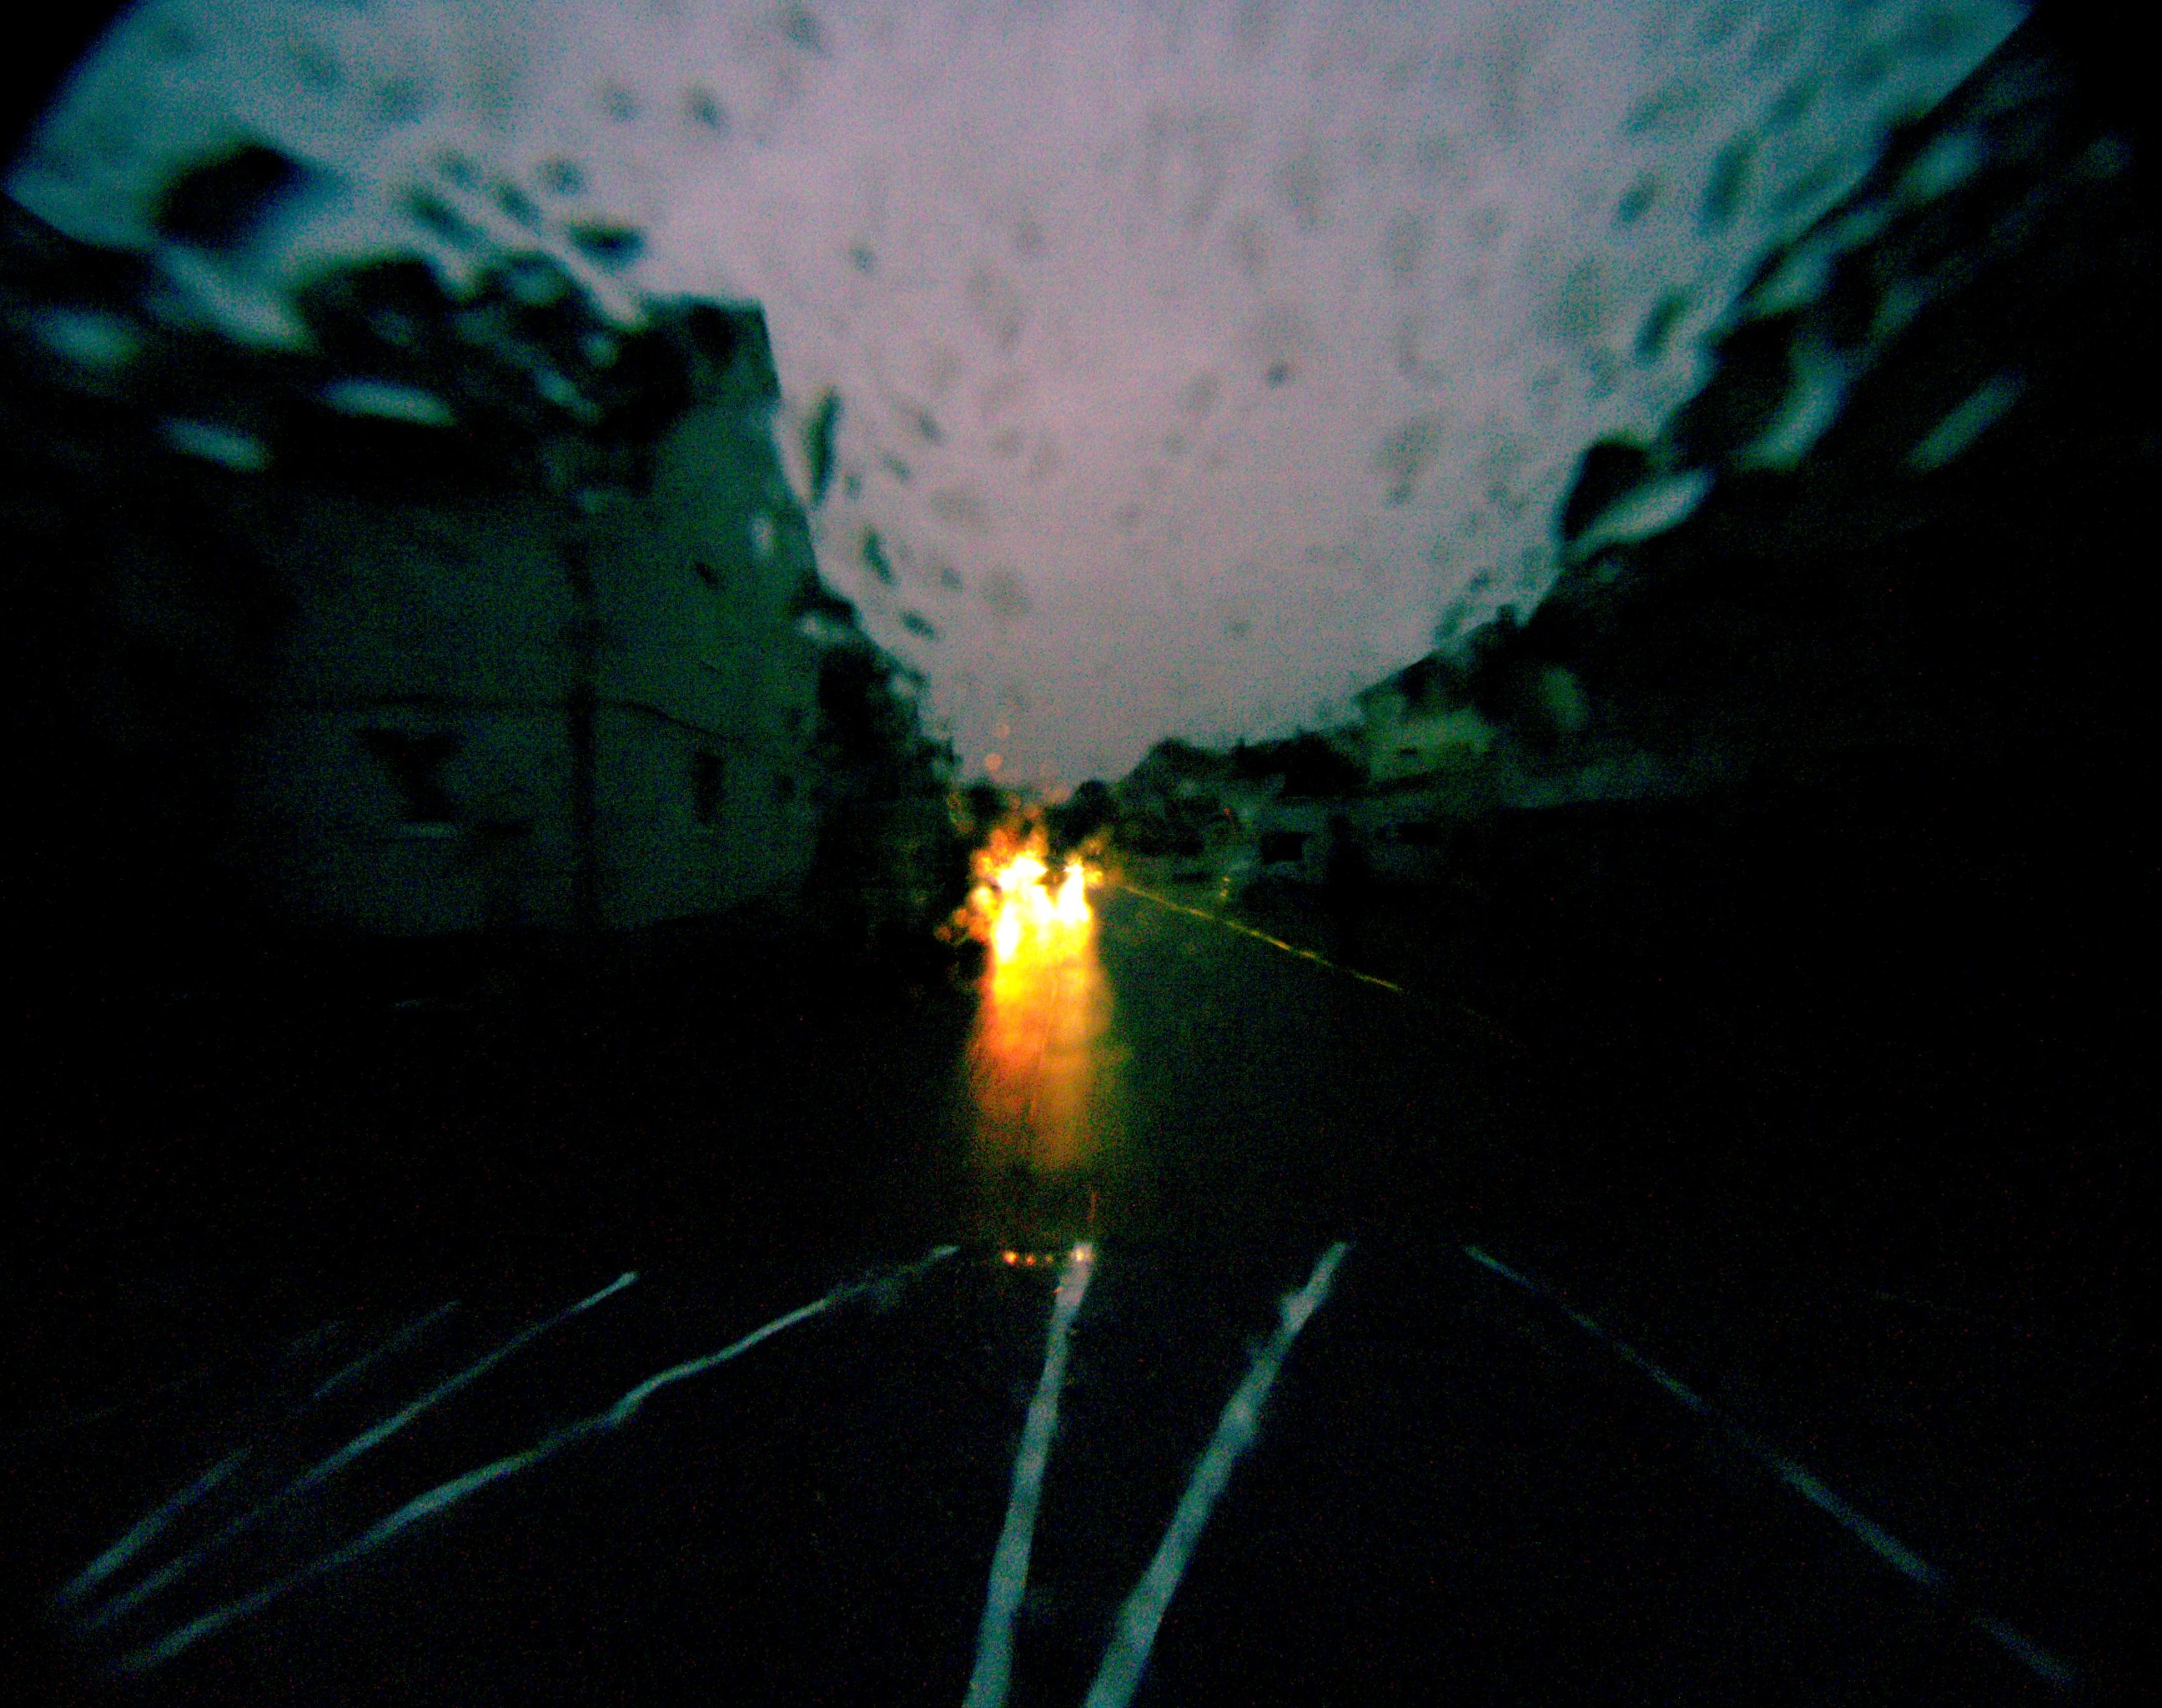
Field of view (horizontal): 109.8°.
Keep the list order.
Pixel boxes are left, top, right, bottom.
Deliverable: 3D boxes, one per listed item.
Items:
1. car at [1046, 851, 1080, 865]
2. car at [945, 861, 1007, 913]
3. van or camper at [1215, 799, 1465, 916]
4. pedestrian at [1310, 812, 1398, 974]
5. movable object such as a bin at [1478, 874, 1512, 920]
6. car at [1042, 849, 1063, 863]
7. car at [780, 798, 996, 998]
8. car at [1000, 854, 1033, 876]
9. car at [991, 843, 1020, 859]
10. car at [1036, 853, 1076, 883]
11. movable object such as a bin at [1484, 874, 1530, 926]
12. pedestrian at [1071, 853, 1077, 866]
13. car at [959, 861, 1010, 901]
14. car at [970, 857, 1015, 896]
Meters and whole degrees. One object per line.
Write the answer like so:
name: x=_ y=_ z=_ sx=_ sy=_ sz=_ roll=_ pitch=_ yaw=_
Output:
car: x=-2.277 y=0.524 z=96.083 sx=3.994 sy=1.652 sz=1.756 roll=-1 pitch=0 yaw=7
car: x=-3.273 y=0.984 z=24.456 sx=1.648 sy=1.469 sz=4.370 roll=-1 pitch=0 yaw=-4
van or camper: x=6.971 y=0.092 z=21.033 sx=6.073 sy=2.925 sz=2.324 roll=1 pitch=1 yaw=1
pedestrian: x=3.553 y=0.489 z=9.950 sx=0.785 sy=2.002 sz=0.869 roll=-2 pitch=1 yaw=1
movable object such as a bin: x=8.735 y=0.905 z=16.042 sx=0.457 sy=0.942 sz=0.502 roll=-1 pitch=0 yaw=6
car: x=-3.398 y=0.241 z=89.483 sx=1.756 sy=1.651 sz=3.995 roll=-1 pitch=0 yaw=-13
car: x=-2.733 y=0.547 z=12.346 sx=2.014 sy=2.439 sz=5.614 roll=-2 pitch=0 yaw=0
car: x=-4.752 y=0.771 z=55.198 sx=1.993 sy=1.549 sz=4.232 roll=-1 pitch=0 yaw=-10
car: x=-9.790 y=-0.364 z=98.172 sx=1.855 sy=1.872 sz=4.874 roll=-2 pitch=0 yaw=-30
car: x=-1.469 y=0.769 z=42.705 sx=1.992 sy=1.549 sz=4.233 roll=-1 pitch=0 yaw=-5
movable object such as a bin: x=8.658 y=0.925 z=15.463 sx=0.617 sy=1.015 sz=0.581 roll=-1 pitch=0 yaw=6
pedestrian: x=-0.843 y=0.598 z=88.761 sx=0.591 sy=1.463 sz=0.581 roll=-3 pitch=1 yaw=-5
car: x=-3.773 y=1.006 z=30.313 sx=1.740 sy=1.398 sz=4.302 roll=-1 pitch=0 yaw=-4
car: x=-3.957 y=0.951 z=34.581 sx=1.815 sy=1.530 sz=4.302 roll=-1 pitch=1 yaw=-4
